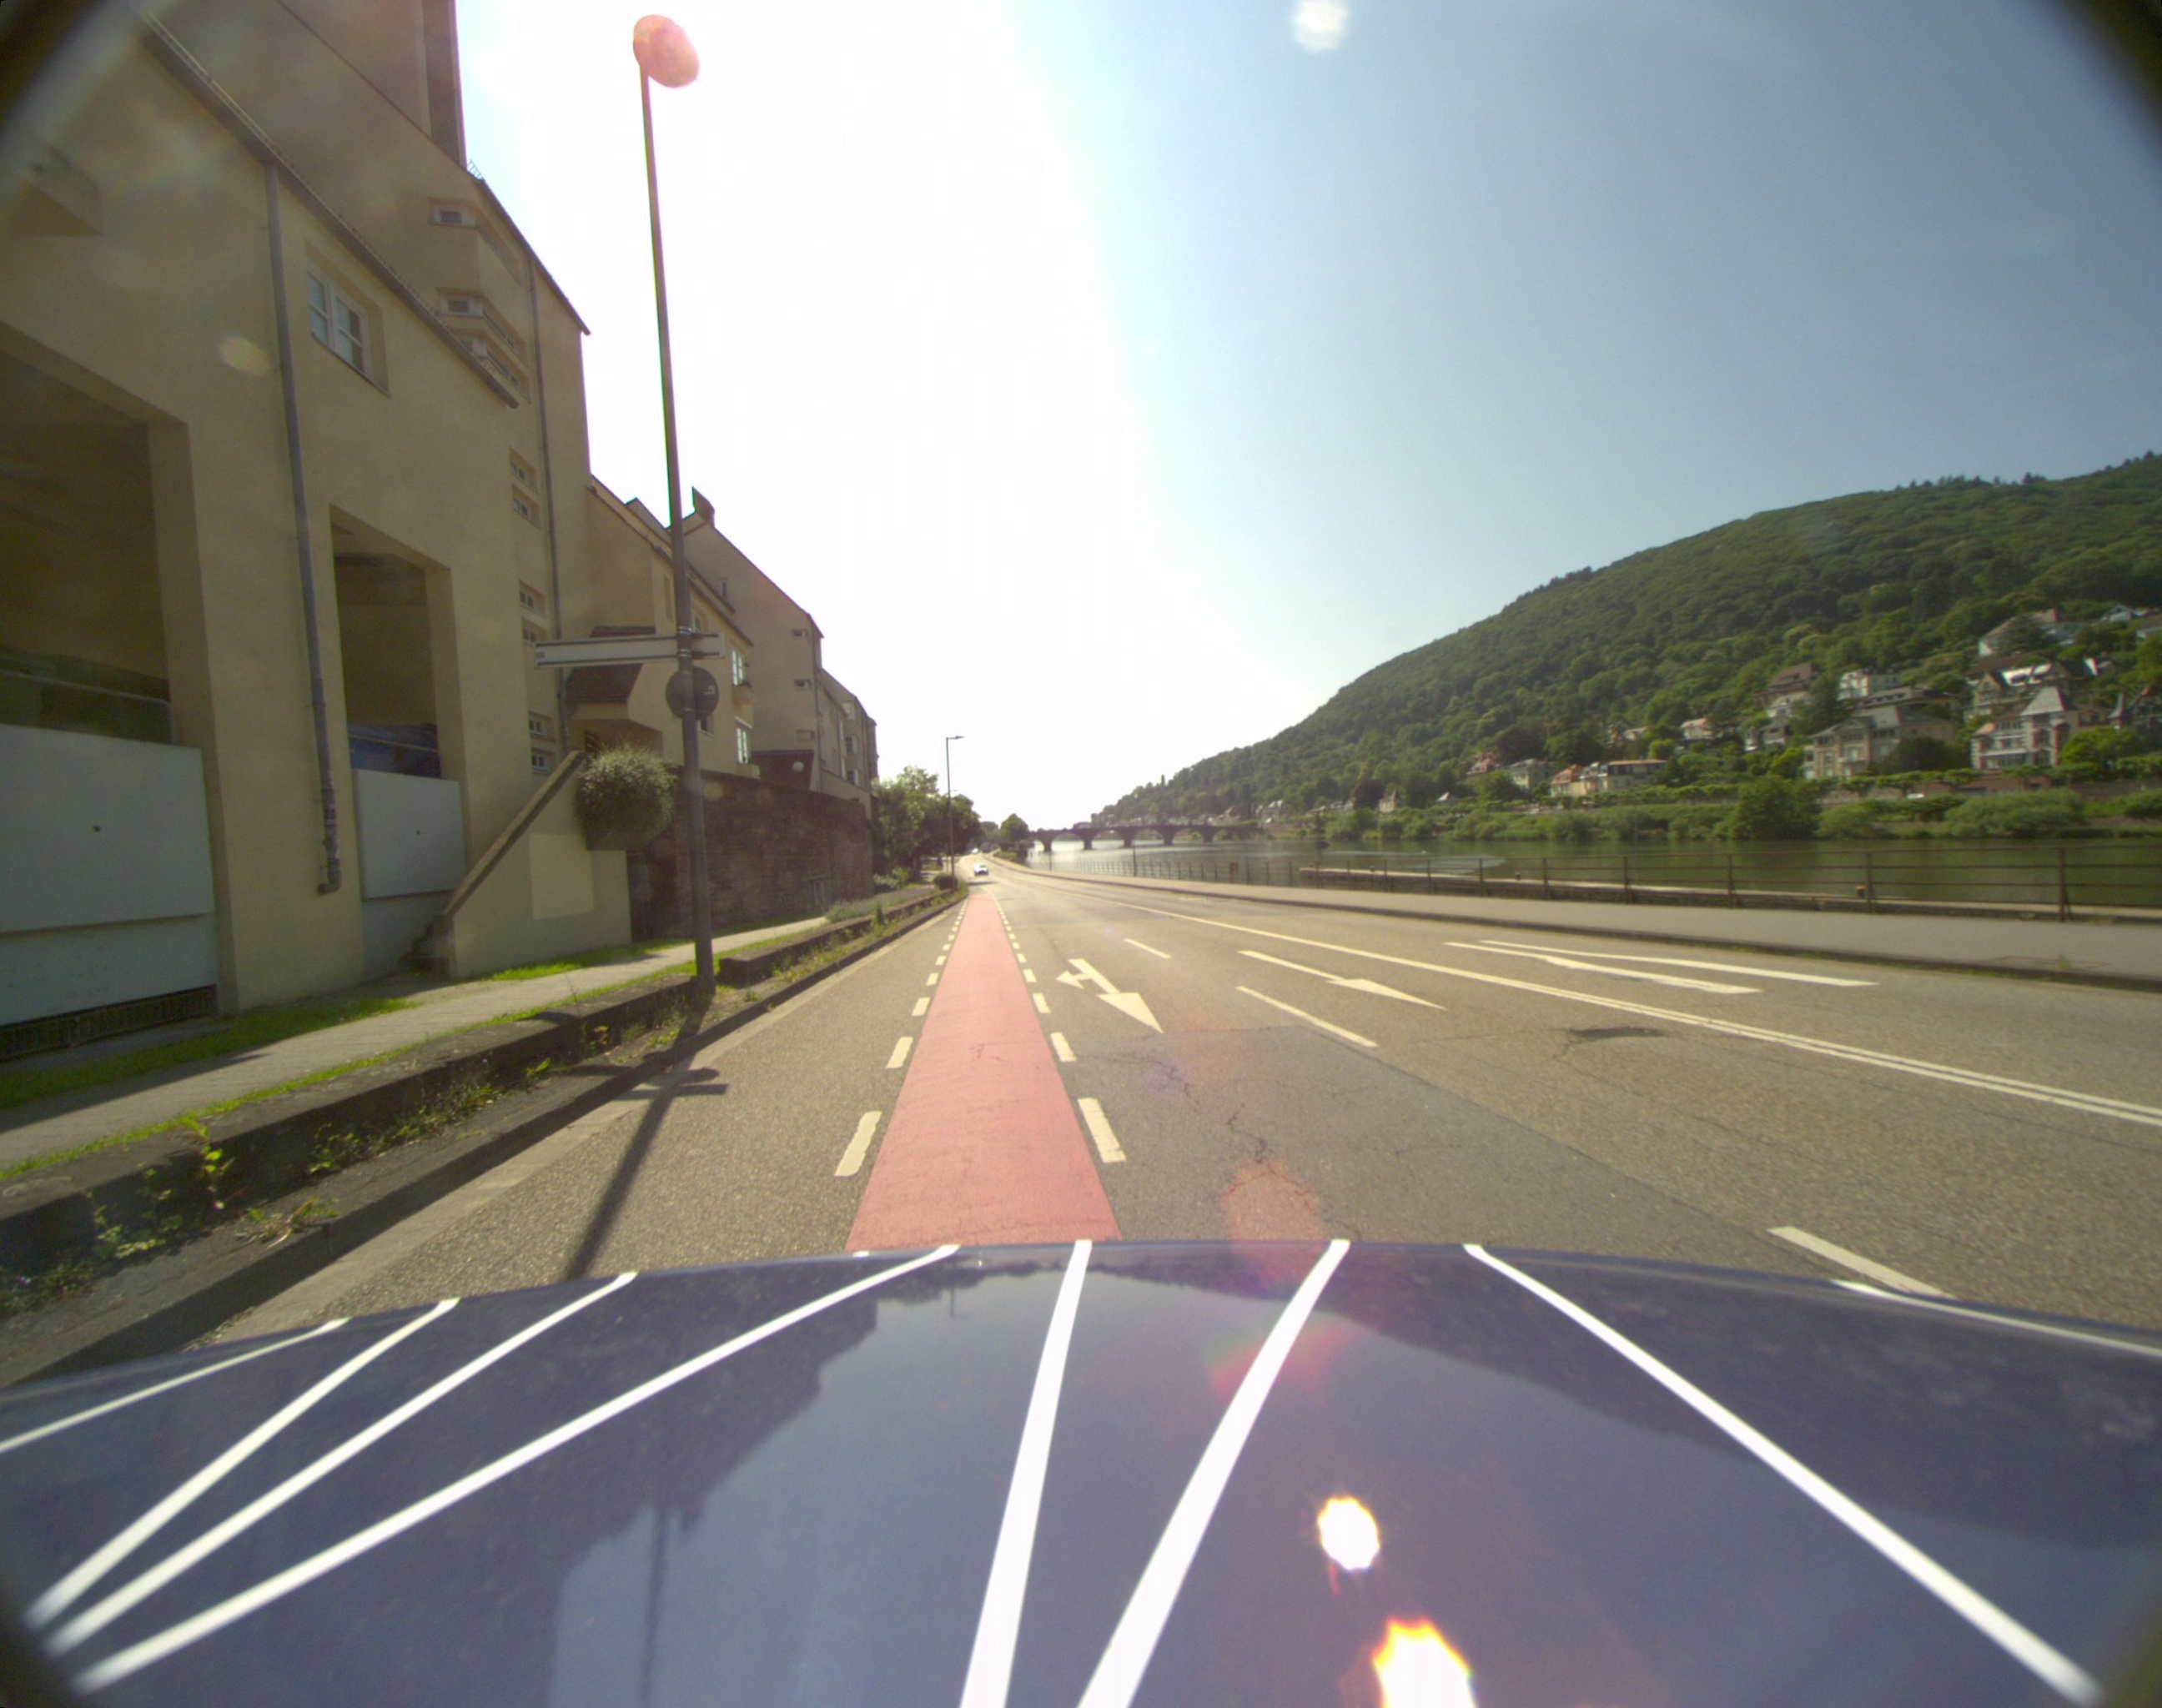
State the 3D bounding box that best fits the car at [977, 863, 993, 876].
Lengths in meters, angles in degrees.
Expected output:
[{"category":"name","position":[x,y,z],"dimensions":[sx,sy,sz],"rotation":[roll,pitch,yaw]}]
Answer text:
[{"category":"car","position":[-12.219,1.952,96.752],"dimensions":[2.000,1.433,3.997],"rotation":[-2,0,-7]}]
